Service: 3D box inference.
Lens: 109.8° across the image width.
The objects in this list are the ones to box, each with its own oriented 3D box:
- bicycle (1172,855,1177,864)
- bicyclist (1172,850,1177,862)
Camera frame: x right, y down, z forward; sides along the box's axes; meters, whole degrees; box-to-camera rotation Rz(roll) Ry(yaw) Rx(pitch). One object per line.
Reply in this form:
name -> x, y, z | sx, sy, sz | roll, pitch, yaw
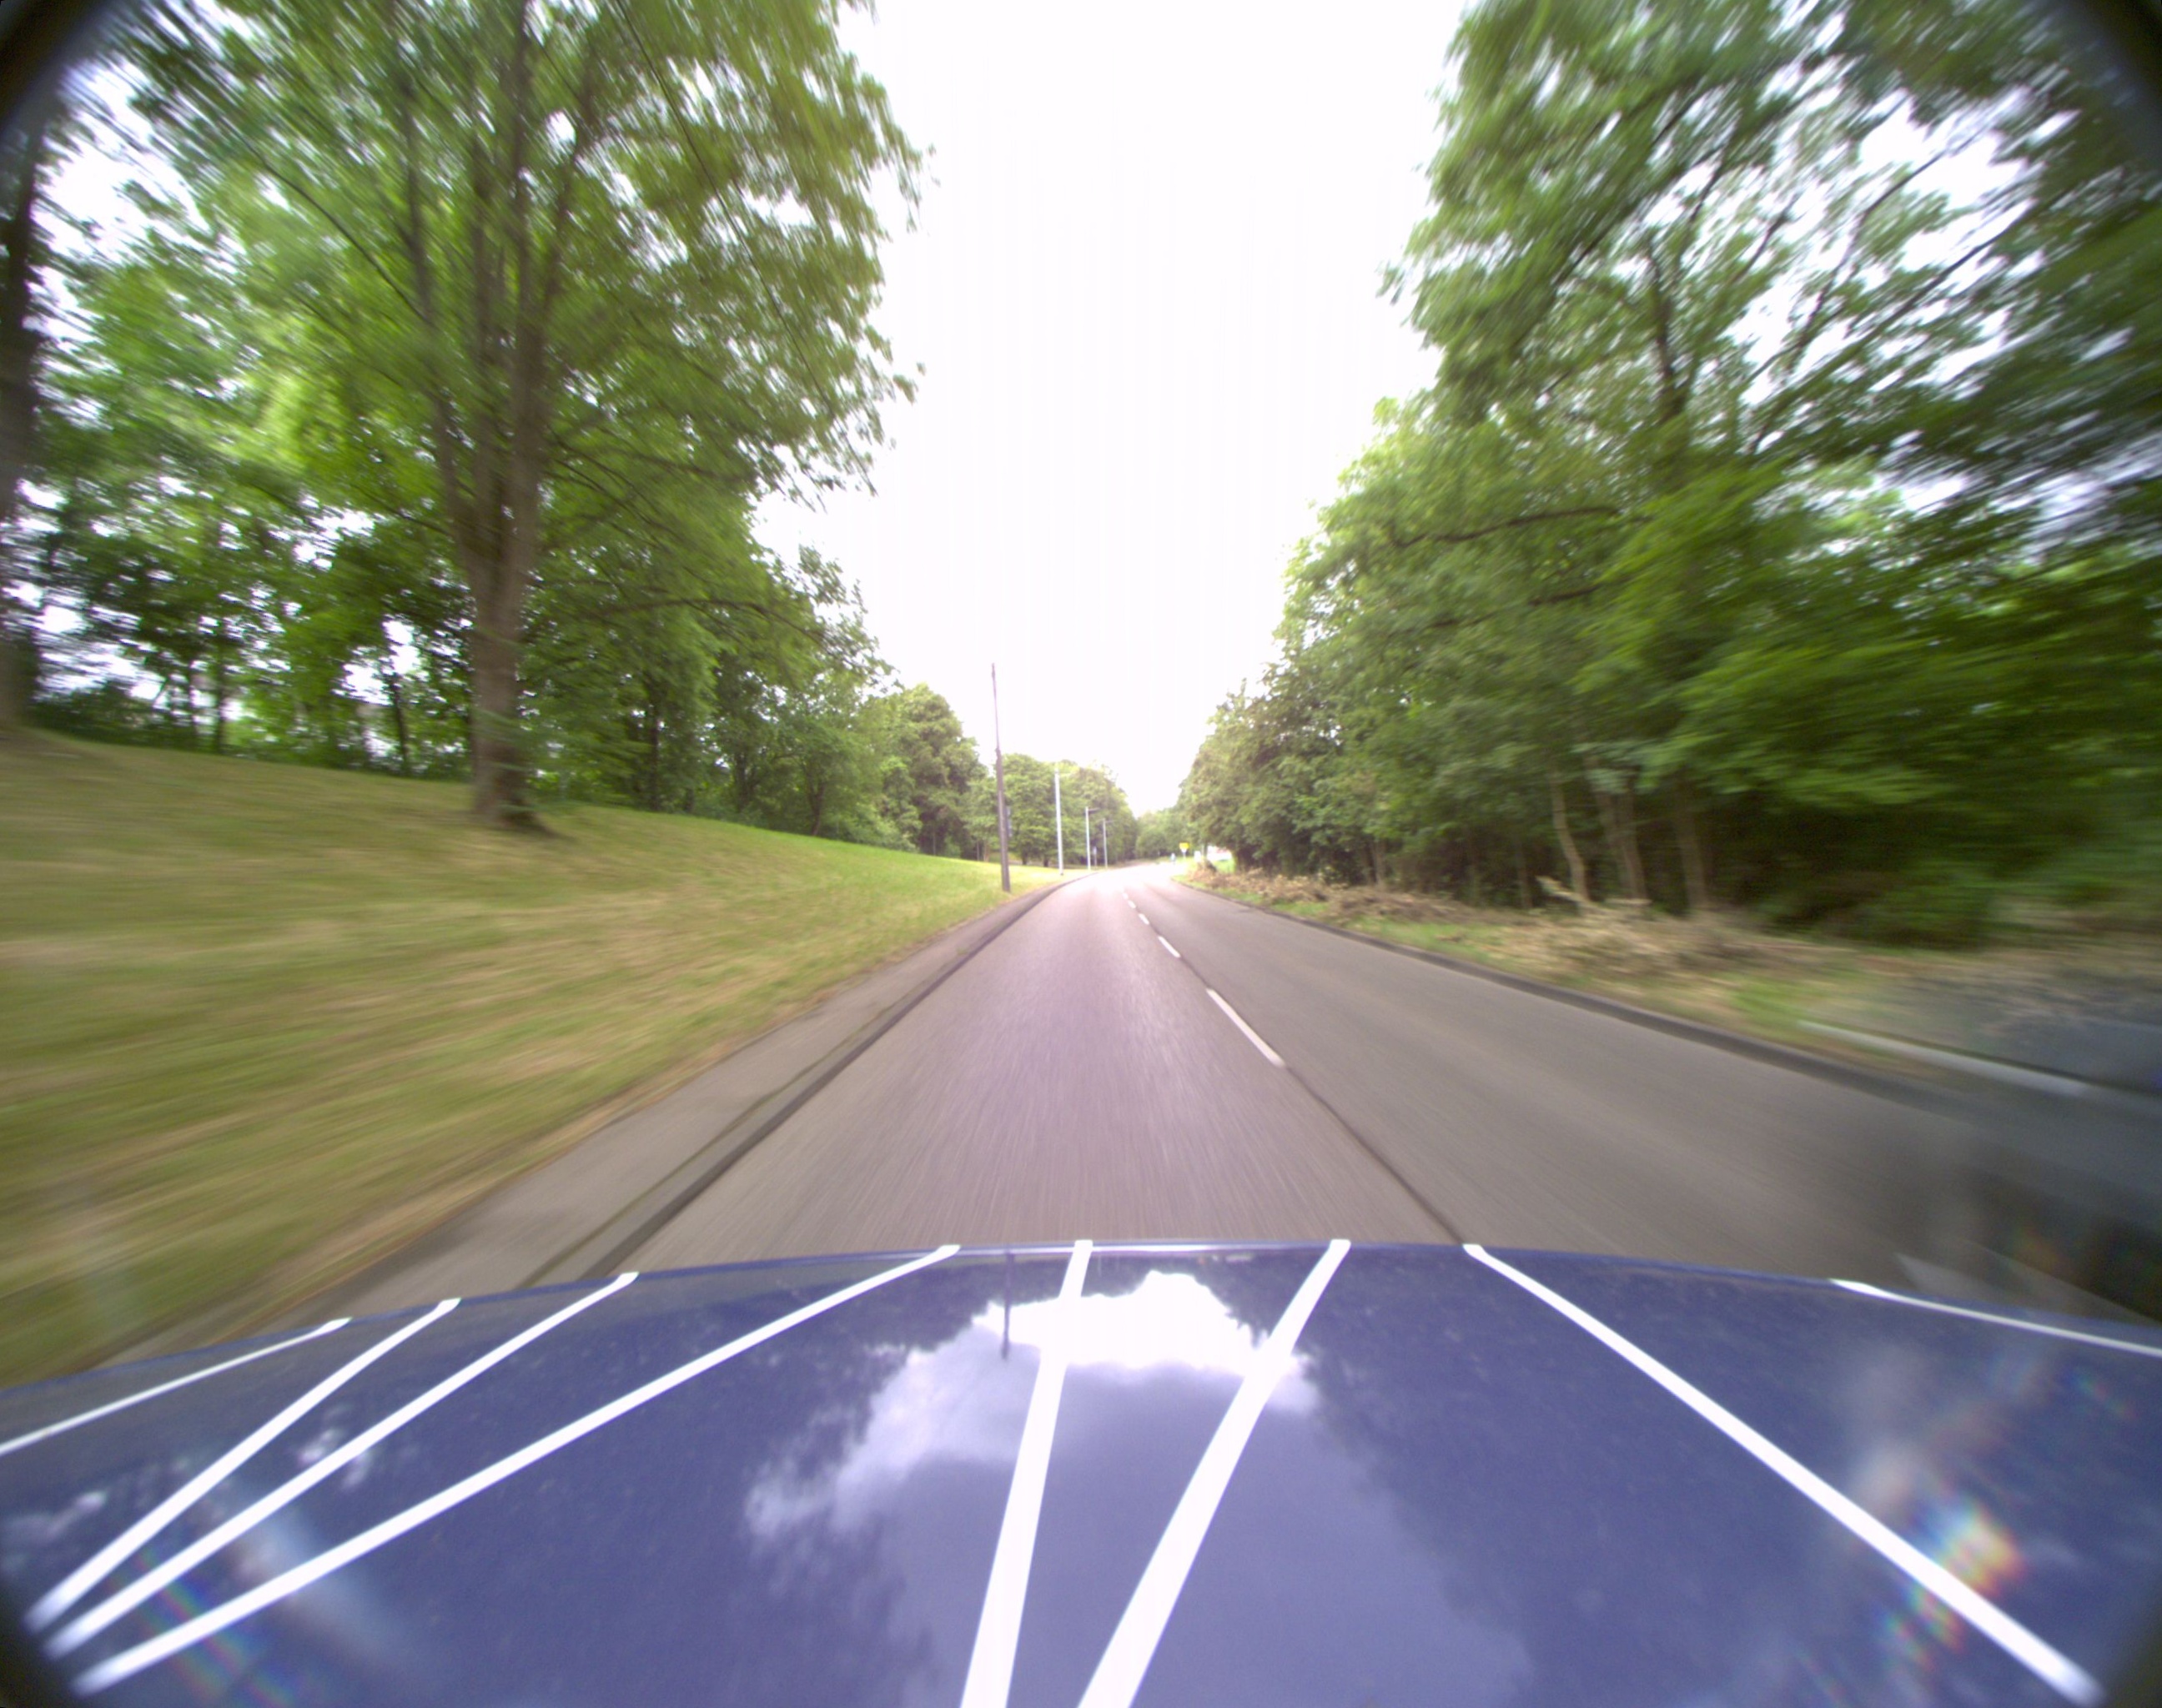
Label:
bicycle -> 12.310, 0.720, 99.908 | 0.667, 1.068, 2.147 | -2, 0, 8
bicyclist -> 12.290, 0.225, 99.904 | 0.667, 1.511, 1.272 | -2, 0, 8
